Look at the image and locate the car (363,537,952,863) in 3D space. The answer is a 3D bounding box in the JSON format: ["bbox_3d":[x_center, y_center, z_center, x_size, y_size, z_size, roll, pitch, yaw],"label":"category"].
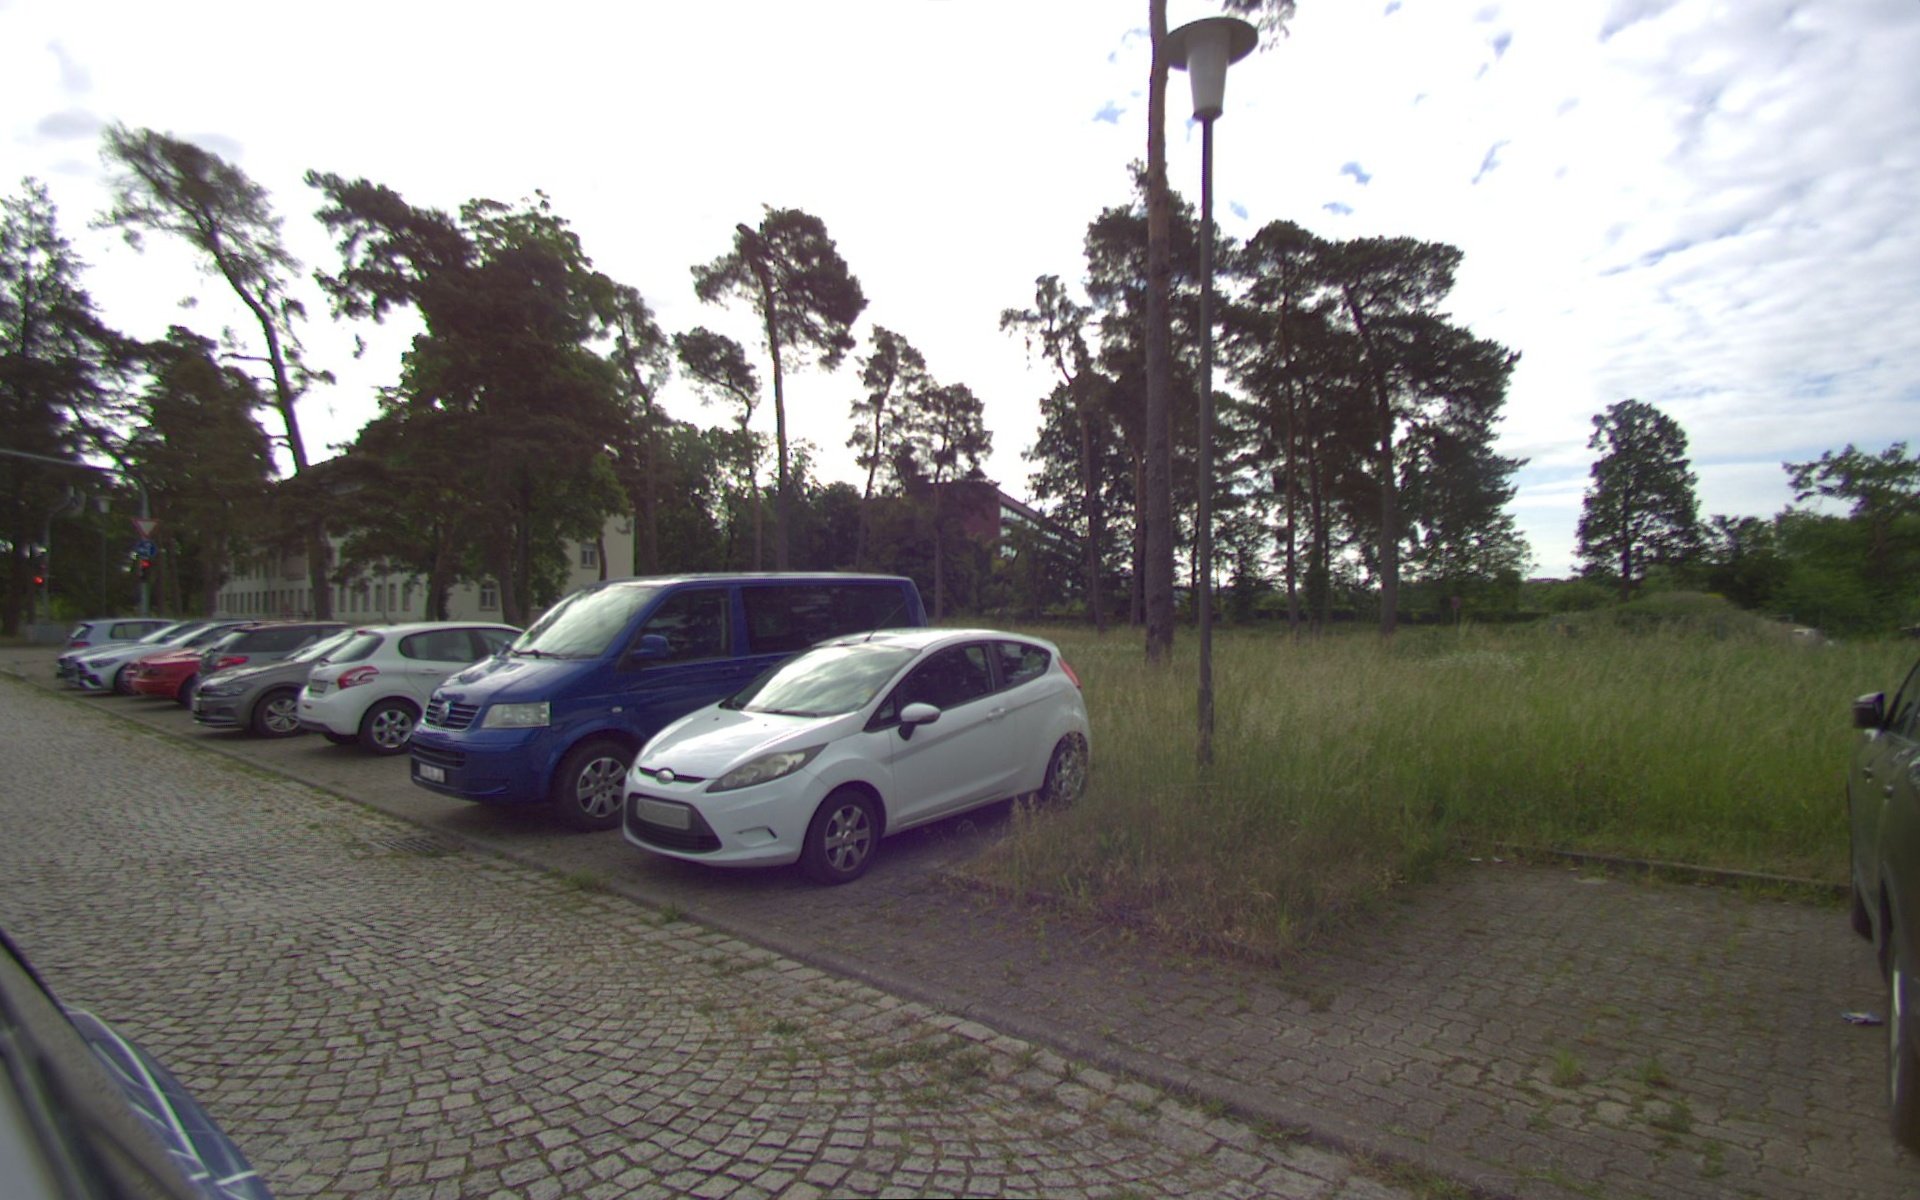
[{"bbox_3d":[-2.405,0.718,9.150,2.114,2.138,4.732,-1,-2,40],"label":"car"}]

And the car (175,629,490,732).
[{"bbox_3d":[-10.322,1.233,16.881,1.845,1.493,4.121,-1,-2,42],"label":"car"}]

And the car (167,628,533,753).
[{"bbox_3d":[-8.555,1.159,14.457,1.865,1.503,4.120,-2,-2,43],"label":"car"}]

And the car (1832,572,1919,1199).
[{"bbox_3d":[4.323,0.775,3.353,1.984,1.634,4.125,-1,-2,39],"label":"car"}]

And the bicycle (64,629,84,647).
[{"bbox_3d":[-45.056,1.944,51.454,1.046,0.923,0.291,-1,-2,20],"label":"bicycle"}]

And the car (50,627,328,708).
[{"bbox_3d":[-16.127,1.342,21.366,1.934,1.519,4.330,-1,-2,39],"label":"car"}]

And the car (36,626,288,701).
[{"bbox_3d":[-18.160,1.373,23.208,1.933,1.560,4.209,-1,-2,38],"label":"car"}]

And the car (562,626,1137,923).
[{"bbox_3d":[-0.511,0.950,7.377,1.779,1.522,4.124,-1,-2,39],"label":"car"}]

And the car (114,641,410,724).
[{"bbox_3d":[-12.537,1.406,18.376,1.831,1.276,4.121,-1,-2,42],"label":"car"}]

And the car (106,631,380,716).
[{"bbox_3d":[-14.146,1.368,20.140,1.863,1.488,4.123,-1,-2,41],"label":"car"}]

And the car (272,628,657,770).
[{"bbox_3d":[-6.146,1.109,12.898,1.845,1.509,4.024,-1,-2,42],"label":"car"}]

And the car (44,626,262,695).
[{"bbox_3d":[-19.973,1.433,25.182,1.904,1.555,3.946,-1,-2,40],"label":"car"}]
